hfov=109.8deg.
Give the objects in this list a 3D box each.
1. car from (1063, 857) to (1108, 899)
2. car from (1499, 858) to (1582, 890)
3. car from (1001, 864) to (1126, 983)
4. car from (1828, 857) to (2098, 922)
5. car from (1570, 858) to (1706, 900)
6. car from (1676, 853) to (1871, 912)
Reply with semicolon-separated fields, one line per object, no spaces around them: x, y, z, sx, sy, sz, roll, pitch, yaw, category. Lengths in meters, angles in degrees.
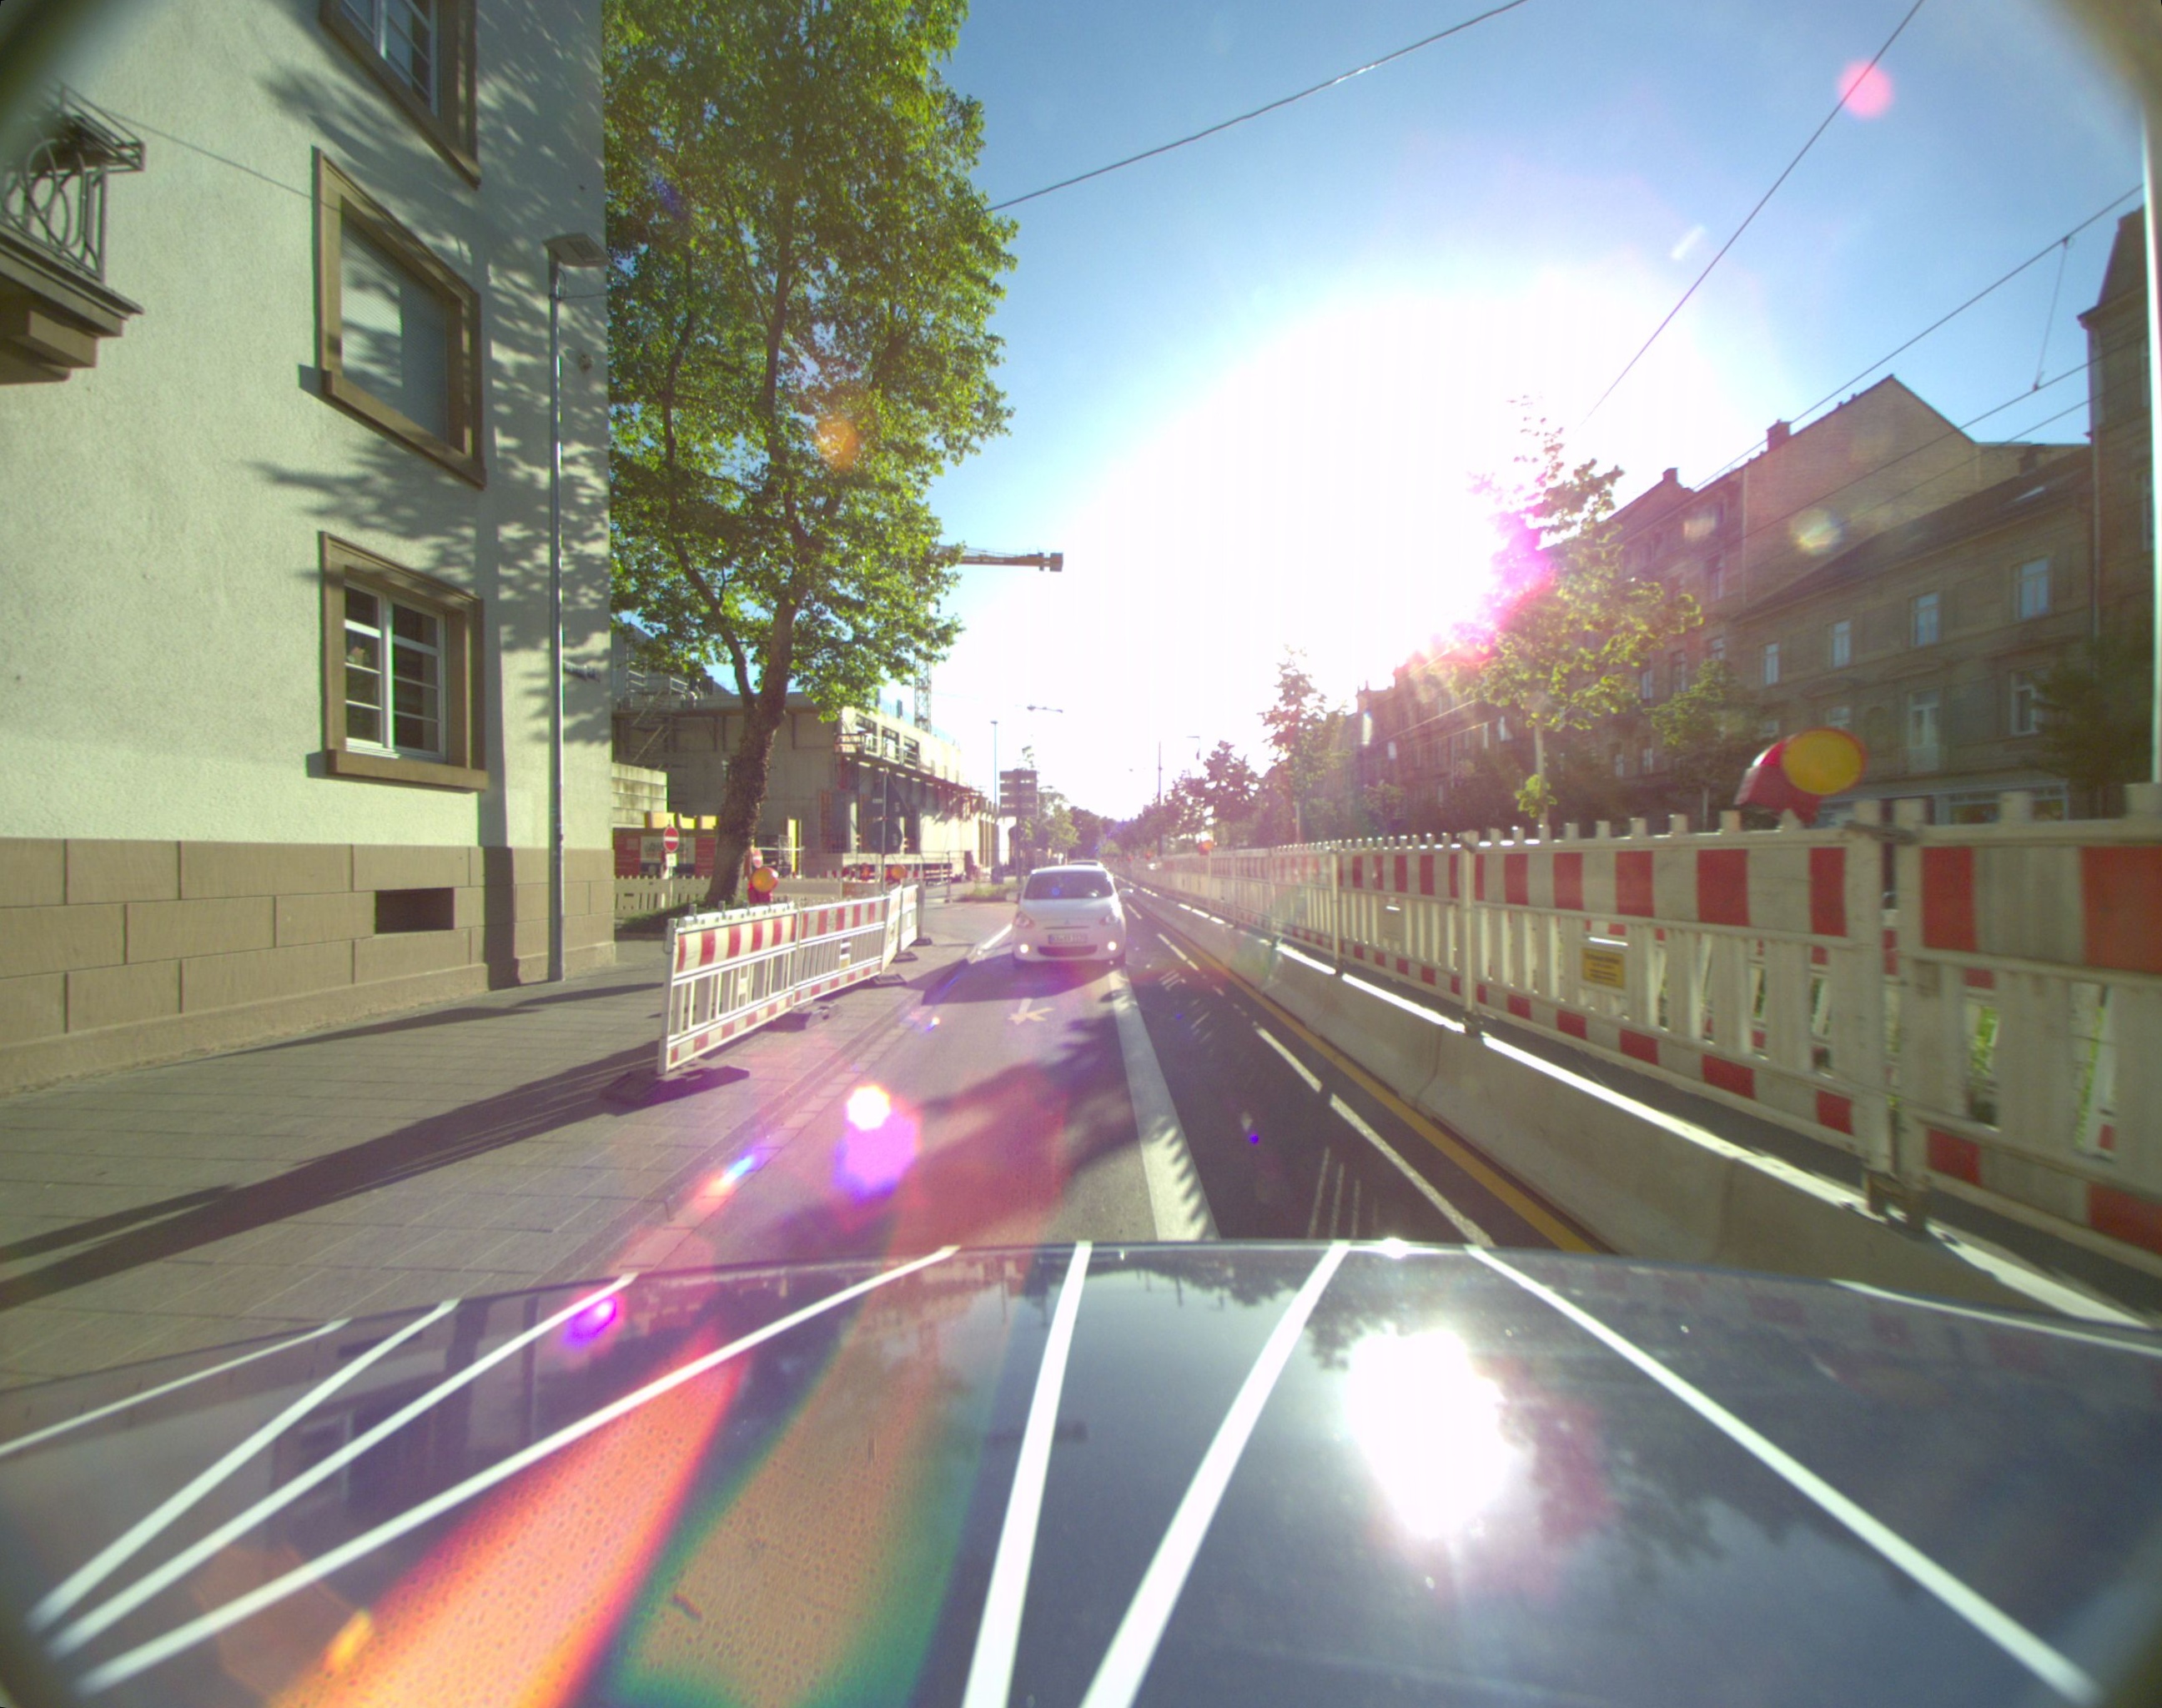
0.227;1.087;35.494;1.900;1.730;4.000;-3;0;0;car
23.056;0.969;38.268;1.753;1.470;4.028;-2;0;1;car
-0.200;0.976;12.509;1.634;1.499;4.350;-2;0;1;car
22.567;0.835;19.776;1.998;1.429;4.308;-2;0;0;car
22.927;0.975;31.583;1.998;1.529;4.984;-2;0;1;car
22.758;0.869;25.308;1.998;1.688;4.888;-2;0;0;car
